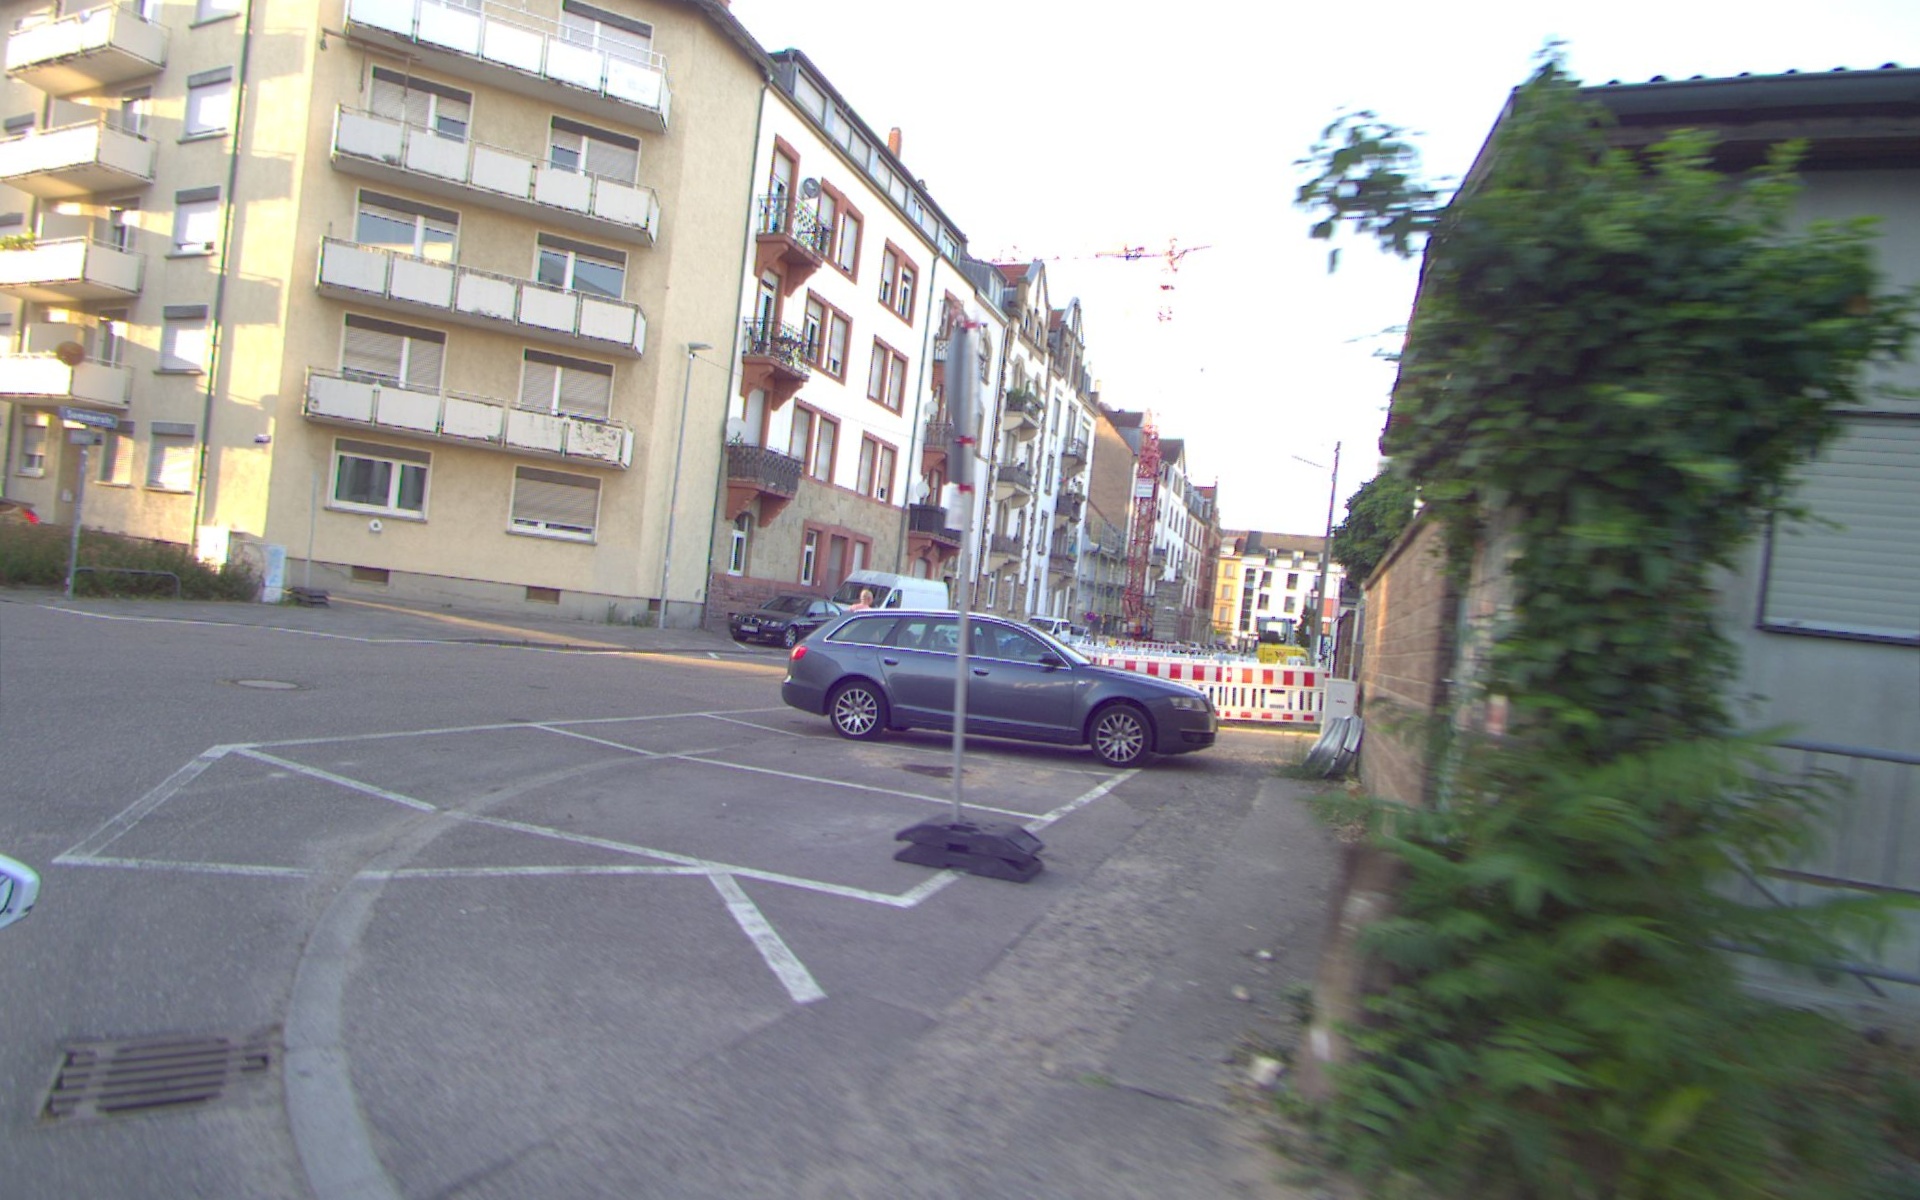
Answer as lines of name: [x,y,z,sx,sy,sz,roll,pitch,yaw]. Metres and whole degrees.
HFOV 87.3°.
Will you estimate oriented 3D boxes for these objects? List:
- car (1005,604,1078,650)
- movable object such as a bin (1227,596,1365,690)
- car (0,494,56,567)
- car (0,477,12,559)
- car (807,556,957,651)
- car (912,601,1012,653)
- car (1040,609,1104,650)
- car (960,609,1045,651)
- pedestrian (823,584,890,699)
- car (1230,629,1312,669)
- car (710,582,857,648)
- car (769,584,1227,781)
car: [4.189,1.415,50.722,2.163,1.887,4.606,9,1,22]
movable object such as a bin: [11.575,1.535,34.421,2.635,2.693,5.180,7,0,38]
car: [-22.042,-1.673,21.310,1.711,1.511,3.880,6,0,26]
car: [-23.988,-2.091,22.030,1.711,1.883,4.289,6,0,26]
car: [-2.411,0.228,33.227,2.191,2.561,6.034,9,1,22]
car: [0.175,1.093,39.326,2.191,1.586,4.606,9,1,22]
car: [6.295,1.698,56.098,2.163,1.887,4.606,9,1,22]
car: [1.947,1.357,44.103,2.163,1.462,4.606,9,1,22]
pedestrian: [-1.640,0.638,15.854,0.774,1.686,0.627,7,2,-12]
car: [21.176,3.341,68.695,4.974,2.096,2.001,6,0,12]
car: [-4.700,0.466,27.396,1.963,1.388,3.998,9,1,22]
car: [0.468,0.819,11.169,4.638,1.550,1.833,5,0,12]
